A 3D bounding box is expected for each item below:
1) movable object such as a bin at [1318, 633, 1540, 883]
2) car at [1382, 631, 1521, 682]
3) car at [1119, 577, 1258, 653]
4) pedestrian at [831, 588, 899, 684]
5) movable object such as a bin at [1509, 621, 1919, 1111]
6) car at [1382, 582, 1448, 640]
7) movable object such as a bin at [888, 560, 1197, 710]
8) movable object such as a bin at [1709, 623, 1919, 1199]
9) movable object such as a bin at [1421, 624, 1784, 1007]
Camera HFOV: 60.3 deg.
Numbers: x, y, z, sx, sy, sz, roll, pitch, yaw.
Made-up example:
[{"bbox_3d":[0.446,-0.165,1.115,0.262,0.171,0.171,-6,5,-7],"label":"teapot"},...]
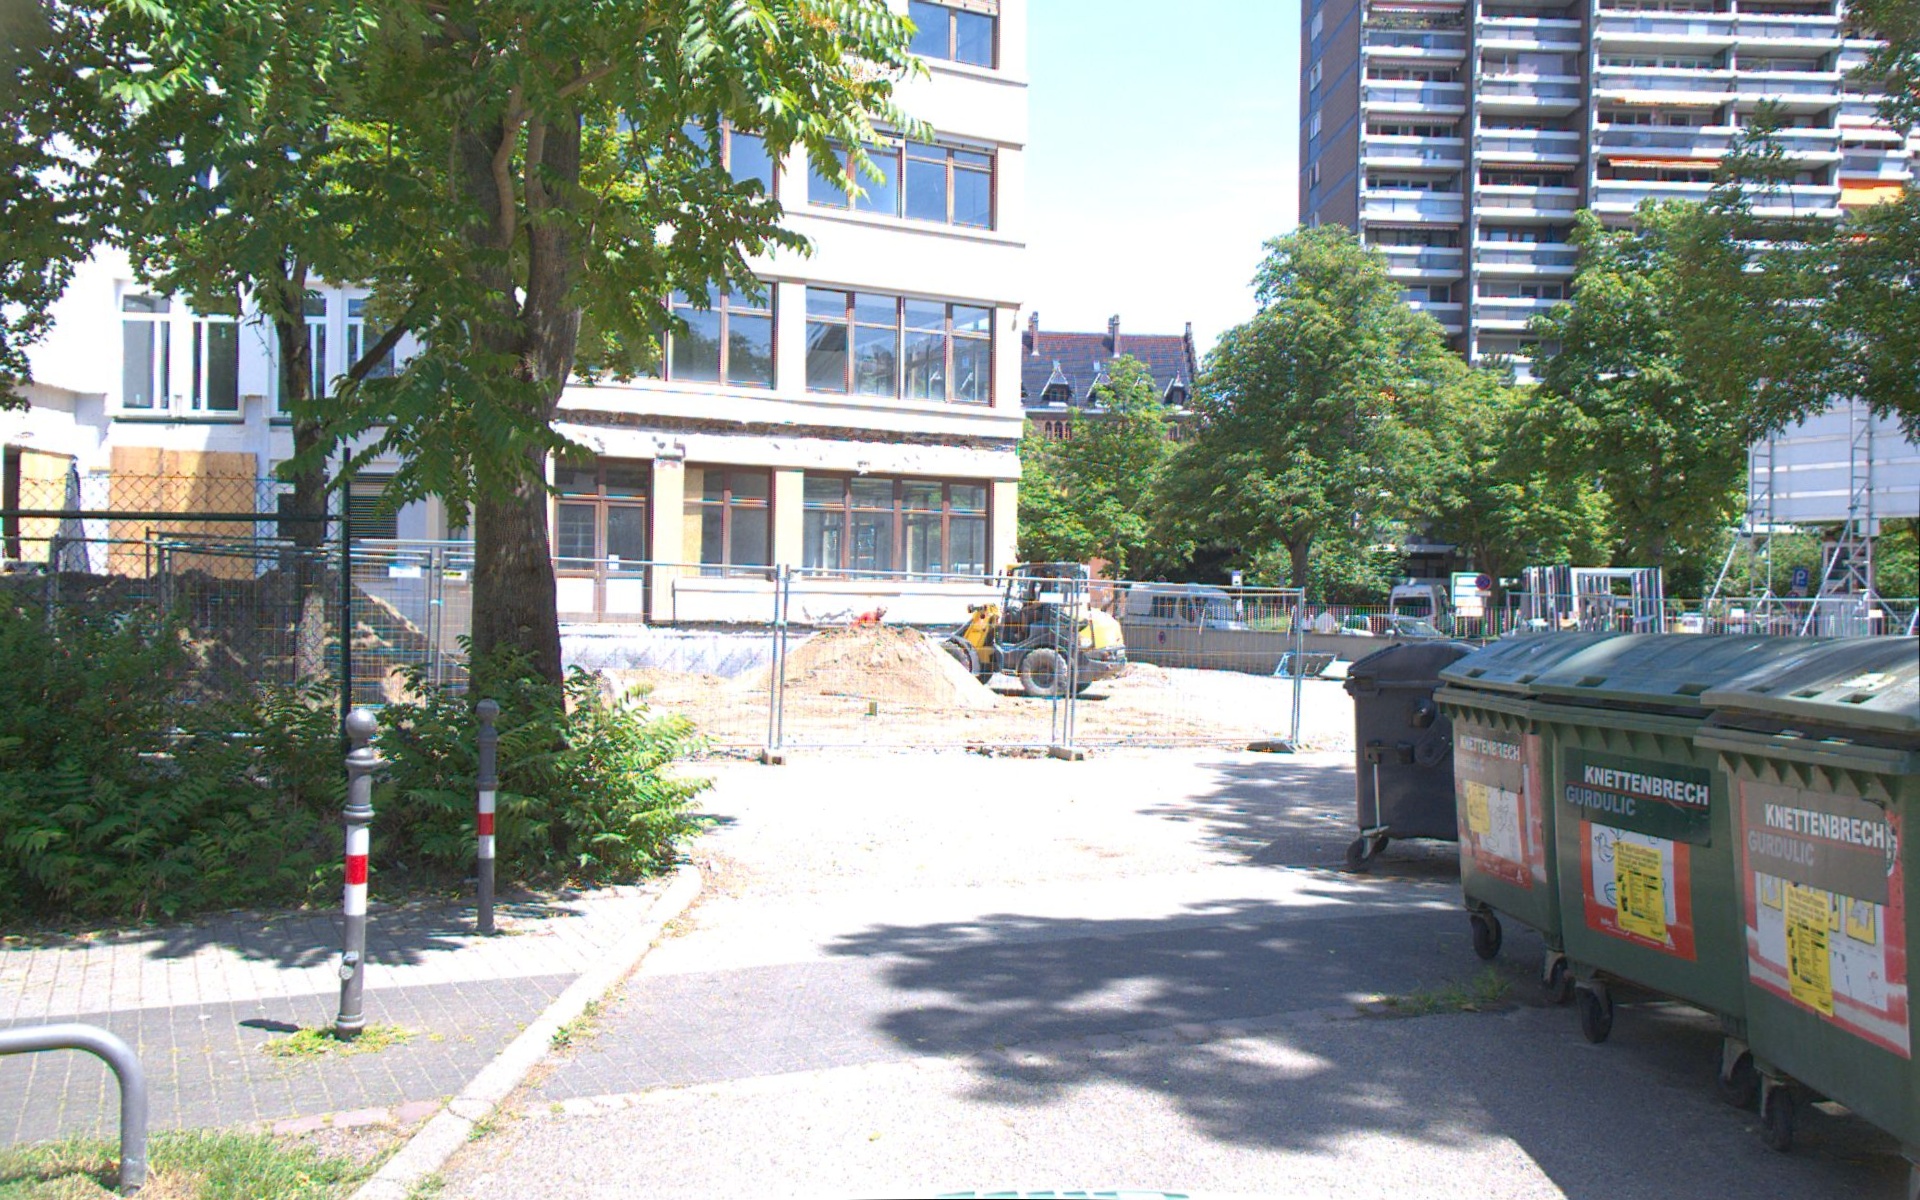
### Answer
[{"bbox_3d":[2.984,0.967,10.683,1.053,1.483,1.377,1,-1,1],"label":"movable object such as a bin"},{"bbox_3d":[13.524,1.542,45.477,3.673,1.343,1.598,1,-1,-30],"label":"car"},{"bbox_3d":[7.664,0.505,55.980,1.972,2.459,5.192,1,-1,-29],"label":"car"},{"bbox_3d":[-1.883,0.704,32.789,0.969,1.879,0.911,0,-1,44],"label":"pedestrian"},{"bbox_3d":[2.661,0.823,5.754,1.053,1.483,1.377,1,-1,1],"label":"movable object such as a bin"},{"bbox_3d":[18.756,0.476,68.039,2.139,2.298,4.869,0,-1,21],"label":"car"},{"bbox_3d":[1.566,0.605,31.476,5.296,2.507,2.366,2,0,25],"label":"movable object such as a bin"},{"bbox_3d":[2.773,0.809,4.282,1.053,1.483,1.377,1,-1,1],"label":"movable object such as a bin"},{"bbox_3d":[2.713,0.853,7.176,1.053,1.483,1.377,1,-1,1],"label":"movable object such as a bin"}]
